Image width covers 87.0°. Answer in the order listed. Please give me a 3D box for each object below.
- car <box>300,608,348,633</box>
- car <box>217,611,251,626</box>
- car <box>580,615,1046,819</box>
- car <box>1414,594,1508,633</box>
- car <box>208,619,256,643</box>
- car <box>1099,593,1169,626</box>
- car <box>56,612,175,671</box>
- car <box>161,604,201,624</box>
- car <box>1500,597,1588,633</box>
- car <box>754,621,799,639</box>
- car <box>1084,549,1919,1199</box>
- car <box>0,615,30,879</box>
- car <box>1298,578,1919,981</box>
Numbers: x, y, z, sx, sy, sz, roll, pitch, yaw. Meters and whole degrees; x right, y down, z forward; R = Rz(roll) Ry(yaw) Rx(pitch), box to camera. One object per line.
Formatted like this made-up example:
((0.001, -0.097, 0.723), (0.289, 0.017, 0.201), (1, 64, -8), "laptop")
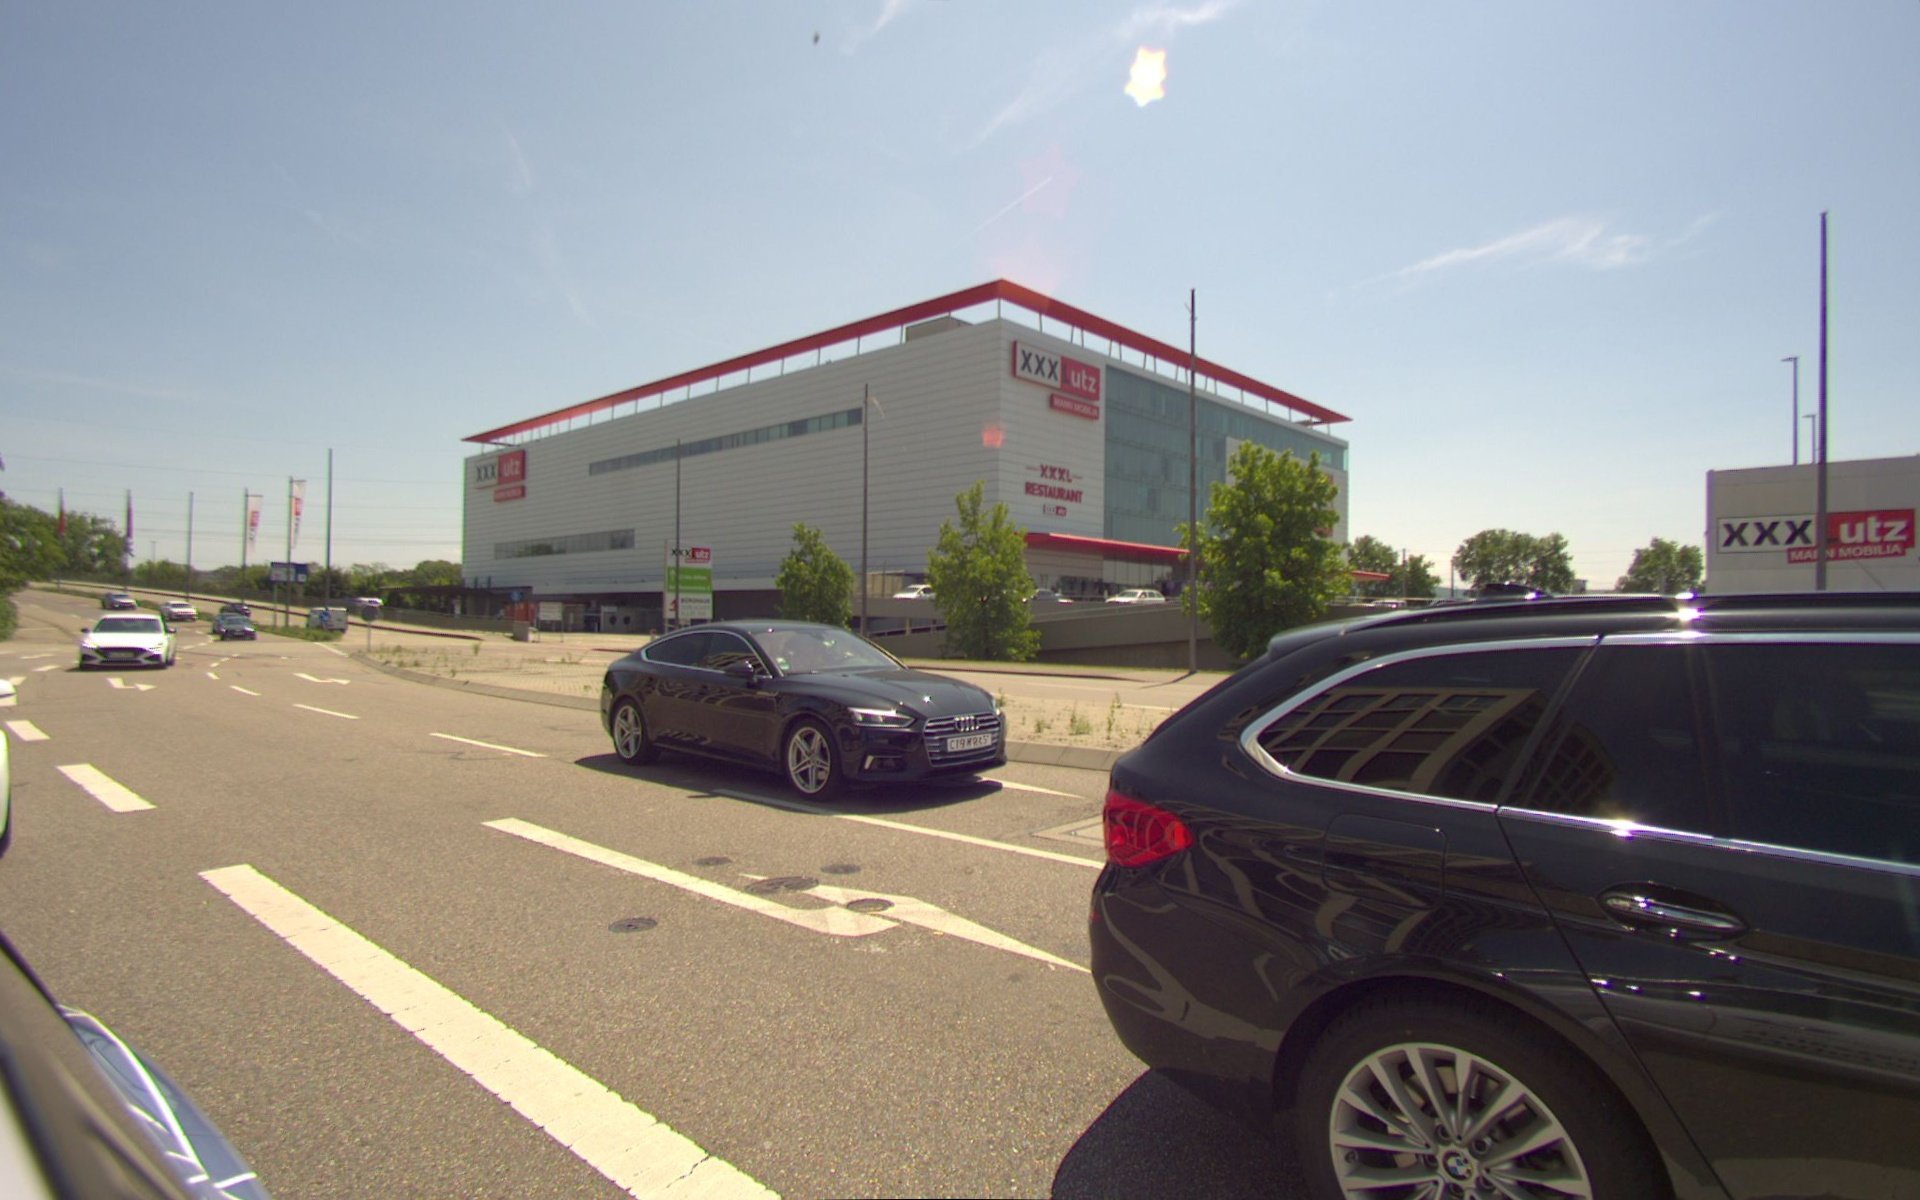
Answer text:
((-48.728, 1.589, 77.462), (4.838, 1.864, 1.811), (-1, -2, 42), "car")
((-68.118, 1.758, 94.969), (3.894, 1.312, 1.835), (-1, -3, 44), "car")
((-1.546, 0.863, 9.166), (4.533, 1.401, 1.729), (-2, -2, 43), "car")
((25.838, 0.712, 52.279), (3.998, 1.946, 1.973), (-1, -2, 41), "car")
((-44.254, 1.857, 61.508), (1.776, 1.388, 4.410), (2, -2, -43), "car")
((9.921, 0.569, 57.566), (2.001, 1.781, 4.140), (0, -2, 44), "car")
((-22.449, 1.088, 26.851), (4.228, 1.461, 1.712), (-1, -4, 41), "car")
((-66.909, 1.192, 86.907), (4.050, 1.587, 1.659), (0, -2, 37), "car")
((32.333, 0.869, 56.099), (3.996, 1.923, 1.974), (-1, -2, 39), "car")
((-16.869, 2.758, 93.228), (1.911, 1.632, 3.698), (0, -2, 41), "car")
((2.632, 0.653, 1.639), (4.620, 1.477, 1.781), (-1, -1, 40), "car")
((-7.429, 0.831, 6.262), (4.401, 1.436, 1.857), (-1, -1, 39), "car")
((3.847, 0.681, 4.703), (3.991, 1.505, 1.782), (-1, -1, 36), "car")
